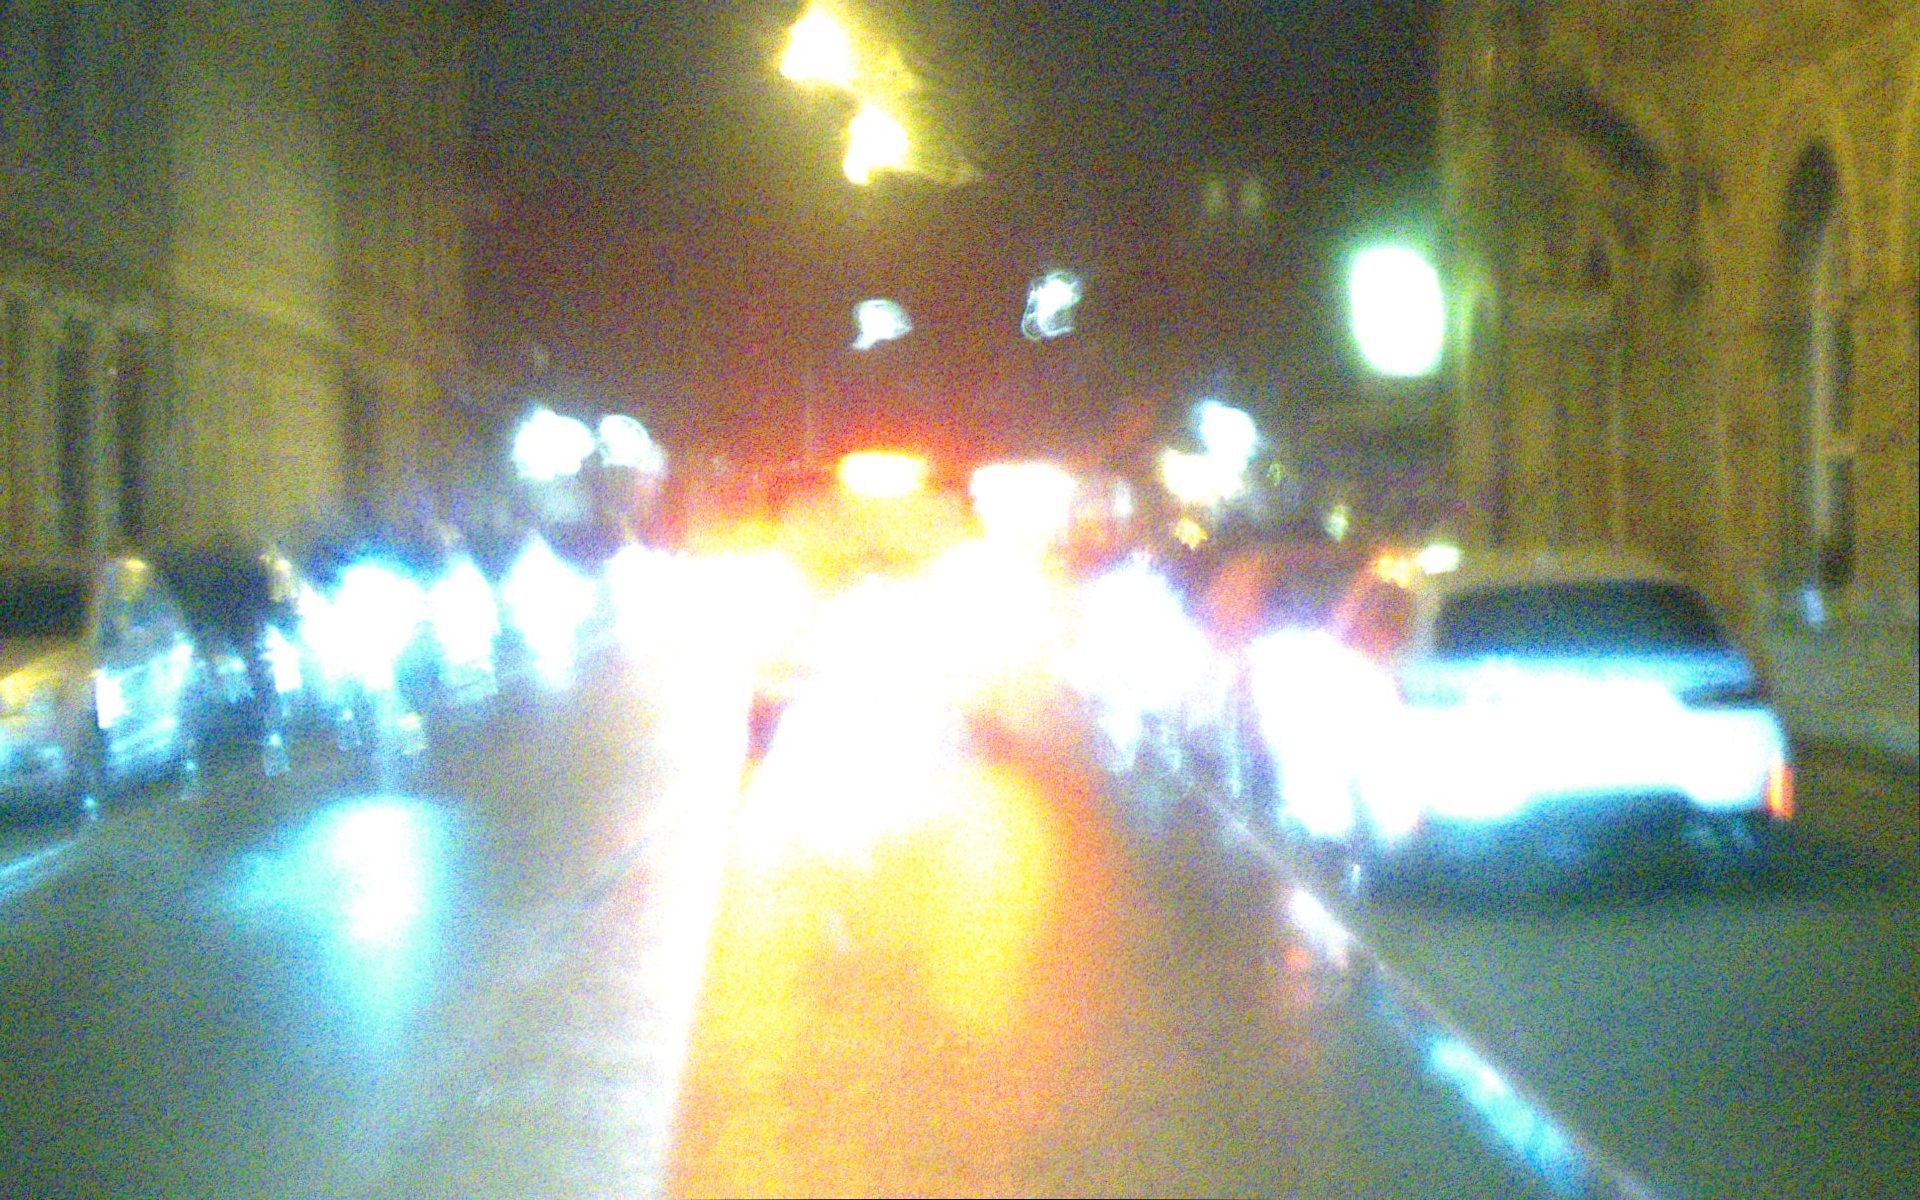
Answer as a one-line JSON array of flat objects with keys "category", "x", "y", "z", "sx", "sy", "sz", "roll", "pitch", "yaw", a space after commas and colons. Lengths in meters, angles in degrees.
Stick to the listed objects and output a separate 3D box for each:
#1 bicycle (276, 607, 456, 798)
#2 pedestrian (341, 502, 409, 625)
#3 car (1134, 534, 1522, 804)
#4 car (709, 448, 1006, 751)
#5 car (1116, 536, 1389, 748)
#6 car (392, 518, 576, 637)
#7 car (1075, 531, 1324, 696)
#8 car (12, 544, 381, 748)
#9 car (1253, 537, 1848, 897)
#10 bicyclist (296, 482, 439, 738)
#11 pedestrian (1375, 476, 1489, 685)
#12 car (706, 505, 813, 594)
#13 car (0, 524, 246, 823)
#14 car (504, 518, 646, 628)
[{"category": "bicycle", "x": -3.676, "y": 0.607, "z": 21.456, "sx": 0.727, "sy": 1.069, "sz": 2.348, "roll": -1, "pitch": 1, "yaw": -1}, {"category": "pedestrian", "x": -8.767, "y": -0.548, "z": 51.527, "sx": 0.743, "sy": 1.798, "sz": 0.986, "roll": 2, "pitch": 1, "yaw": 3}, {"category": "car", "x": 2.156, "y": 0.344, "z": 21.130, "sx": 1.689, "sy": 1.493, "sz": 3.892, "roll": 0, "pitch": 1, "yaw": -4}, {"category": "car", "x": -0.697, "y": -0.060, "z": 25.578, "sx": 1.996, "sy": 2.042, "sz": 4.694, "roll": 0, "pitch": 1, "yaw": 0}, {"category": "car", "x": 2.169, "y": 0.262, "z": 26.384, "sx": 1.689, "sy": 1.493, "sz": 3.892, "roll": 0, "pitch": 1, "yaw": -1}, {"category": "car", "x": -6.229, "y": -0.333, "z": 45.470, "sx": 1.832, "sy": 1.481, "sz": 4.595, "roll": 0, "pitch": 1, "yaw": -1}, {"category": "car", "x": 2.131, "y": 0.075, "z": 31.651, "sx": 1.917, "sy": 1.407, "sz": 4.000, "roll": 0, "pitch": 1, "yaw": -1}, {"category": "car", "x": -5.594, "y": 0.279, "z": 25.721, "sx": 1.822, "sy": 1.385, "sz": 4.426, "roll": 0, "pitch": 1, "yaw": -1}, {"category": "car", "x": 2.591, "y": 0.434, "z": 16.202, "sx": 1.993, "sy": 1.459, "sz": 4.417, "roll": 0, "pitch": 1, "yaw": -1}, {"category": "bicyclist", "x": -3.673, "y": 0.052, "z": 21.366, "sx": 0.718, "sy": 1.551, "sz": 0.895, "roll": -1, "pitch": 1, "yaw": -1}, {"category": "pedestrian", "x": 4.160, "y": -0.186, "z": 30.354, "sx": 0.862, "sy": 1.782, "sz": 1.083, "roll": -2, "pitch": 2, "yaw": 3}, {"category": "car", "x": -3.839, "y": -1.007, "z": 66.474, "sx": 1.920, "sy": 1.612, "sz": 4.575, "roll": -2, "pitch": 2, "yaw": -2}, {"category": "car", "x": -5.464, "y": 0.343, "z": 20.079, "sx": 1.774, "sy": 1.567, "sz": 4.135, "roll": 0, "pitch": 1, "yaw": -1}, {"category": "car", "x": -6.211, "y": -0.471, "z": 55.882, "sx": 1.832, "sy": 1.711, "sz": 4.595, "roll": 0, "pitch": 1, "yaw": -1}]
